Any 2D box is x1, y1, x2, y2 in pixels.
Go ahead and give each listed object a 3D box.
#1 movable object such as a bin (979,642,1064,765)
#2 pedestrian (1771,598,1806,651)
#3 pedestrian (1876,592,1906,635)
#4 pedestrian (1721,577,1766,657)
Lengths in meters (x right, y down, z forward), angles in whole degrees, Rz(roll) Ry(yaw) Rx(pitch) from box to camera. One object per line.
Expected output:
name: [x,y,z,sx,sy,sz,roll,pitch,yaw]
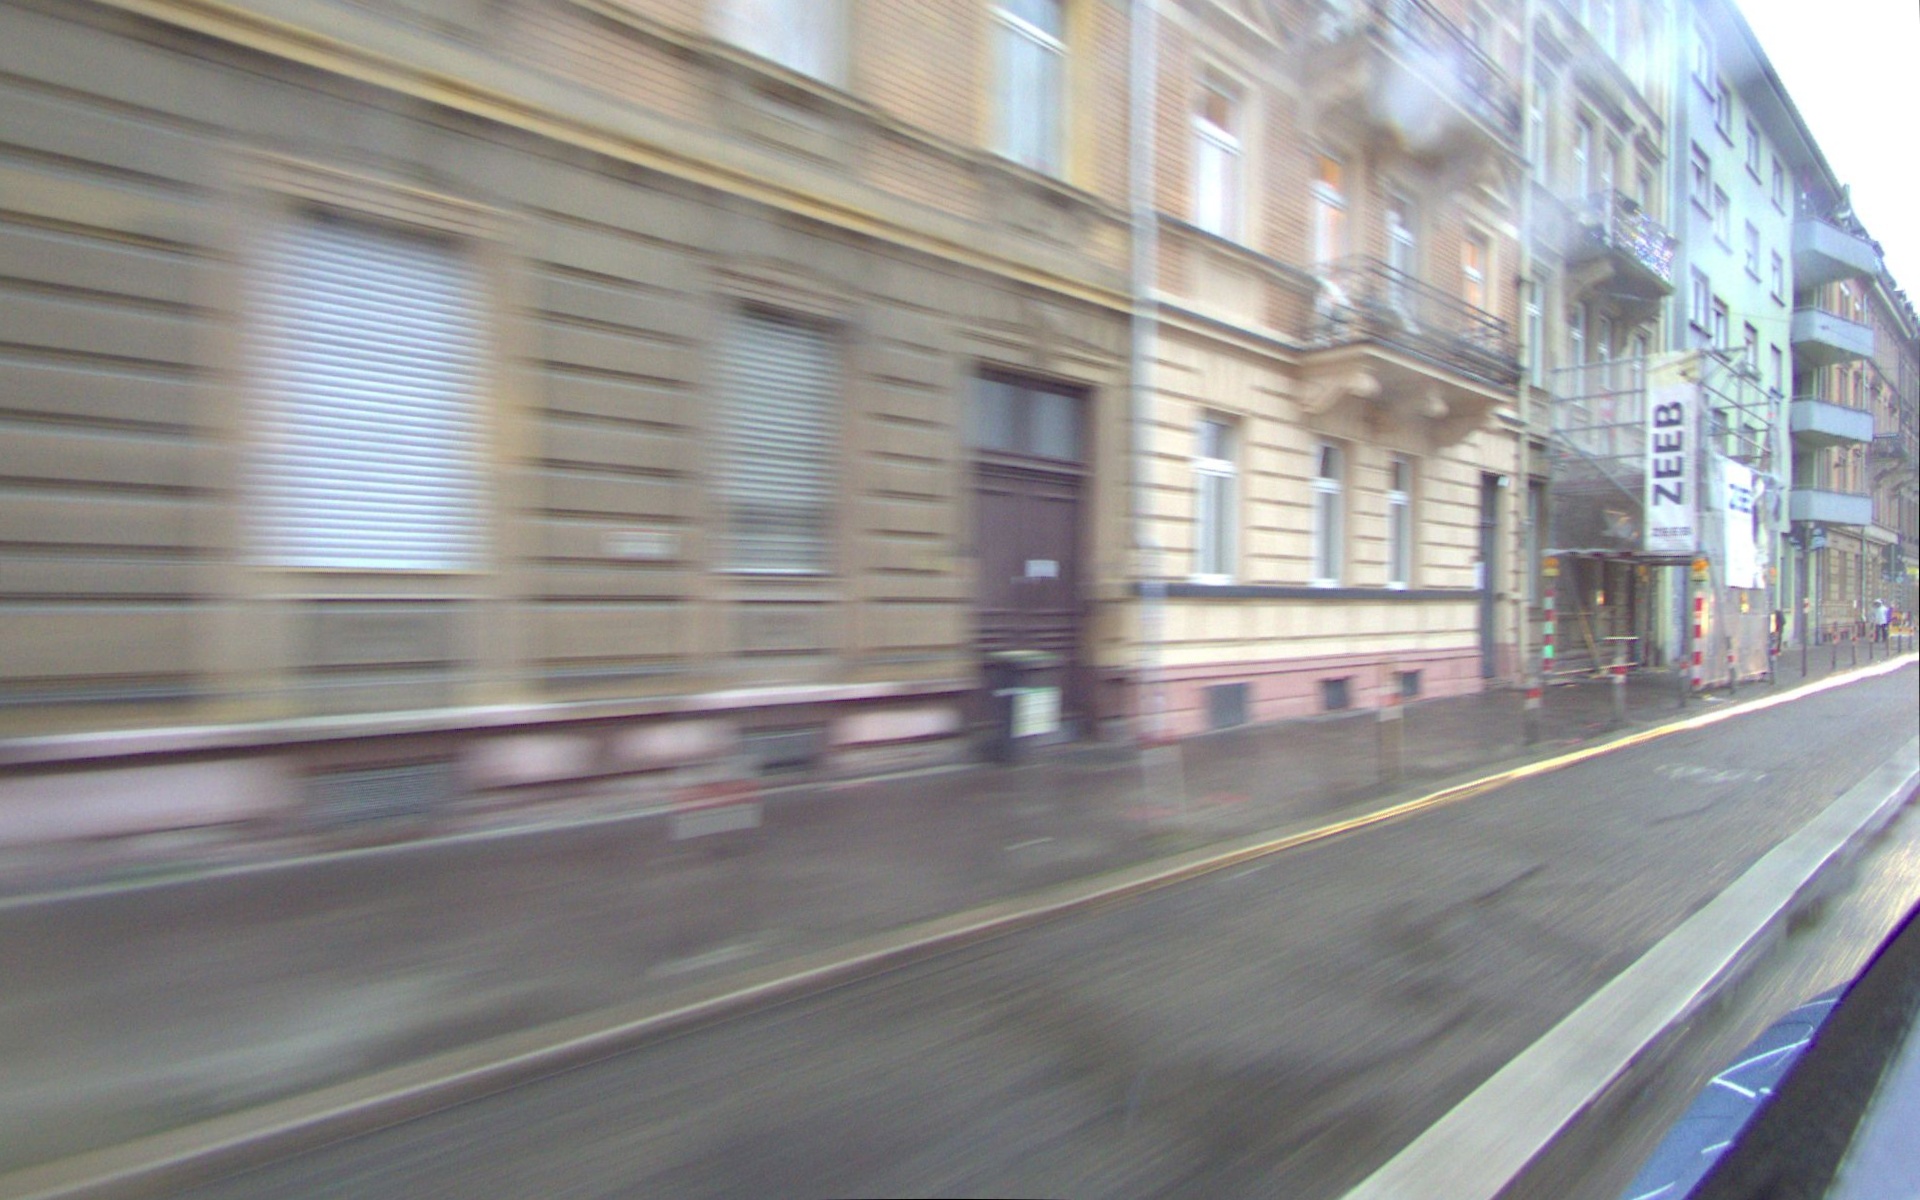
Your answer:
movable object such as a bin: [0.509,0.836,8.374,0.499,0.943,0.507,0,-1,-42]
pedestrian: [22.319,0.649,27.265,0.716,1.394,0.601,0,0,-41]
pedestrian: [35.446,0.504,38.547,0.729,1.617,0.787,0,0,-43]
pedestrian: [18.260,0.389,23.602,0.593,1.841,0.770,-1,0,22]
